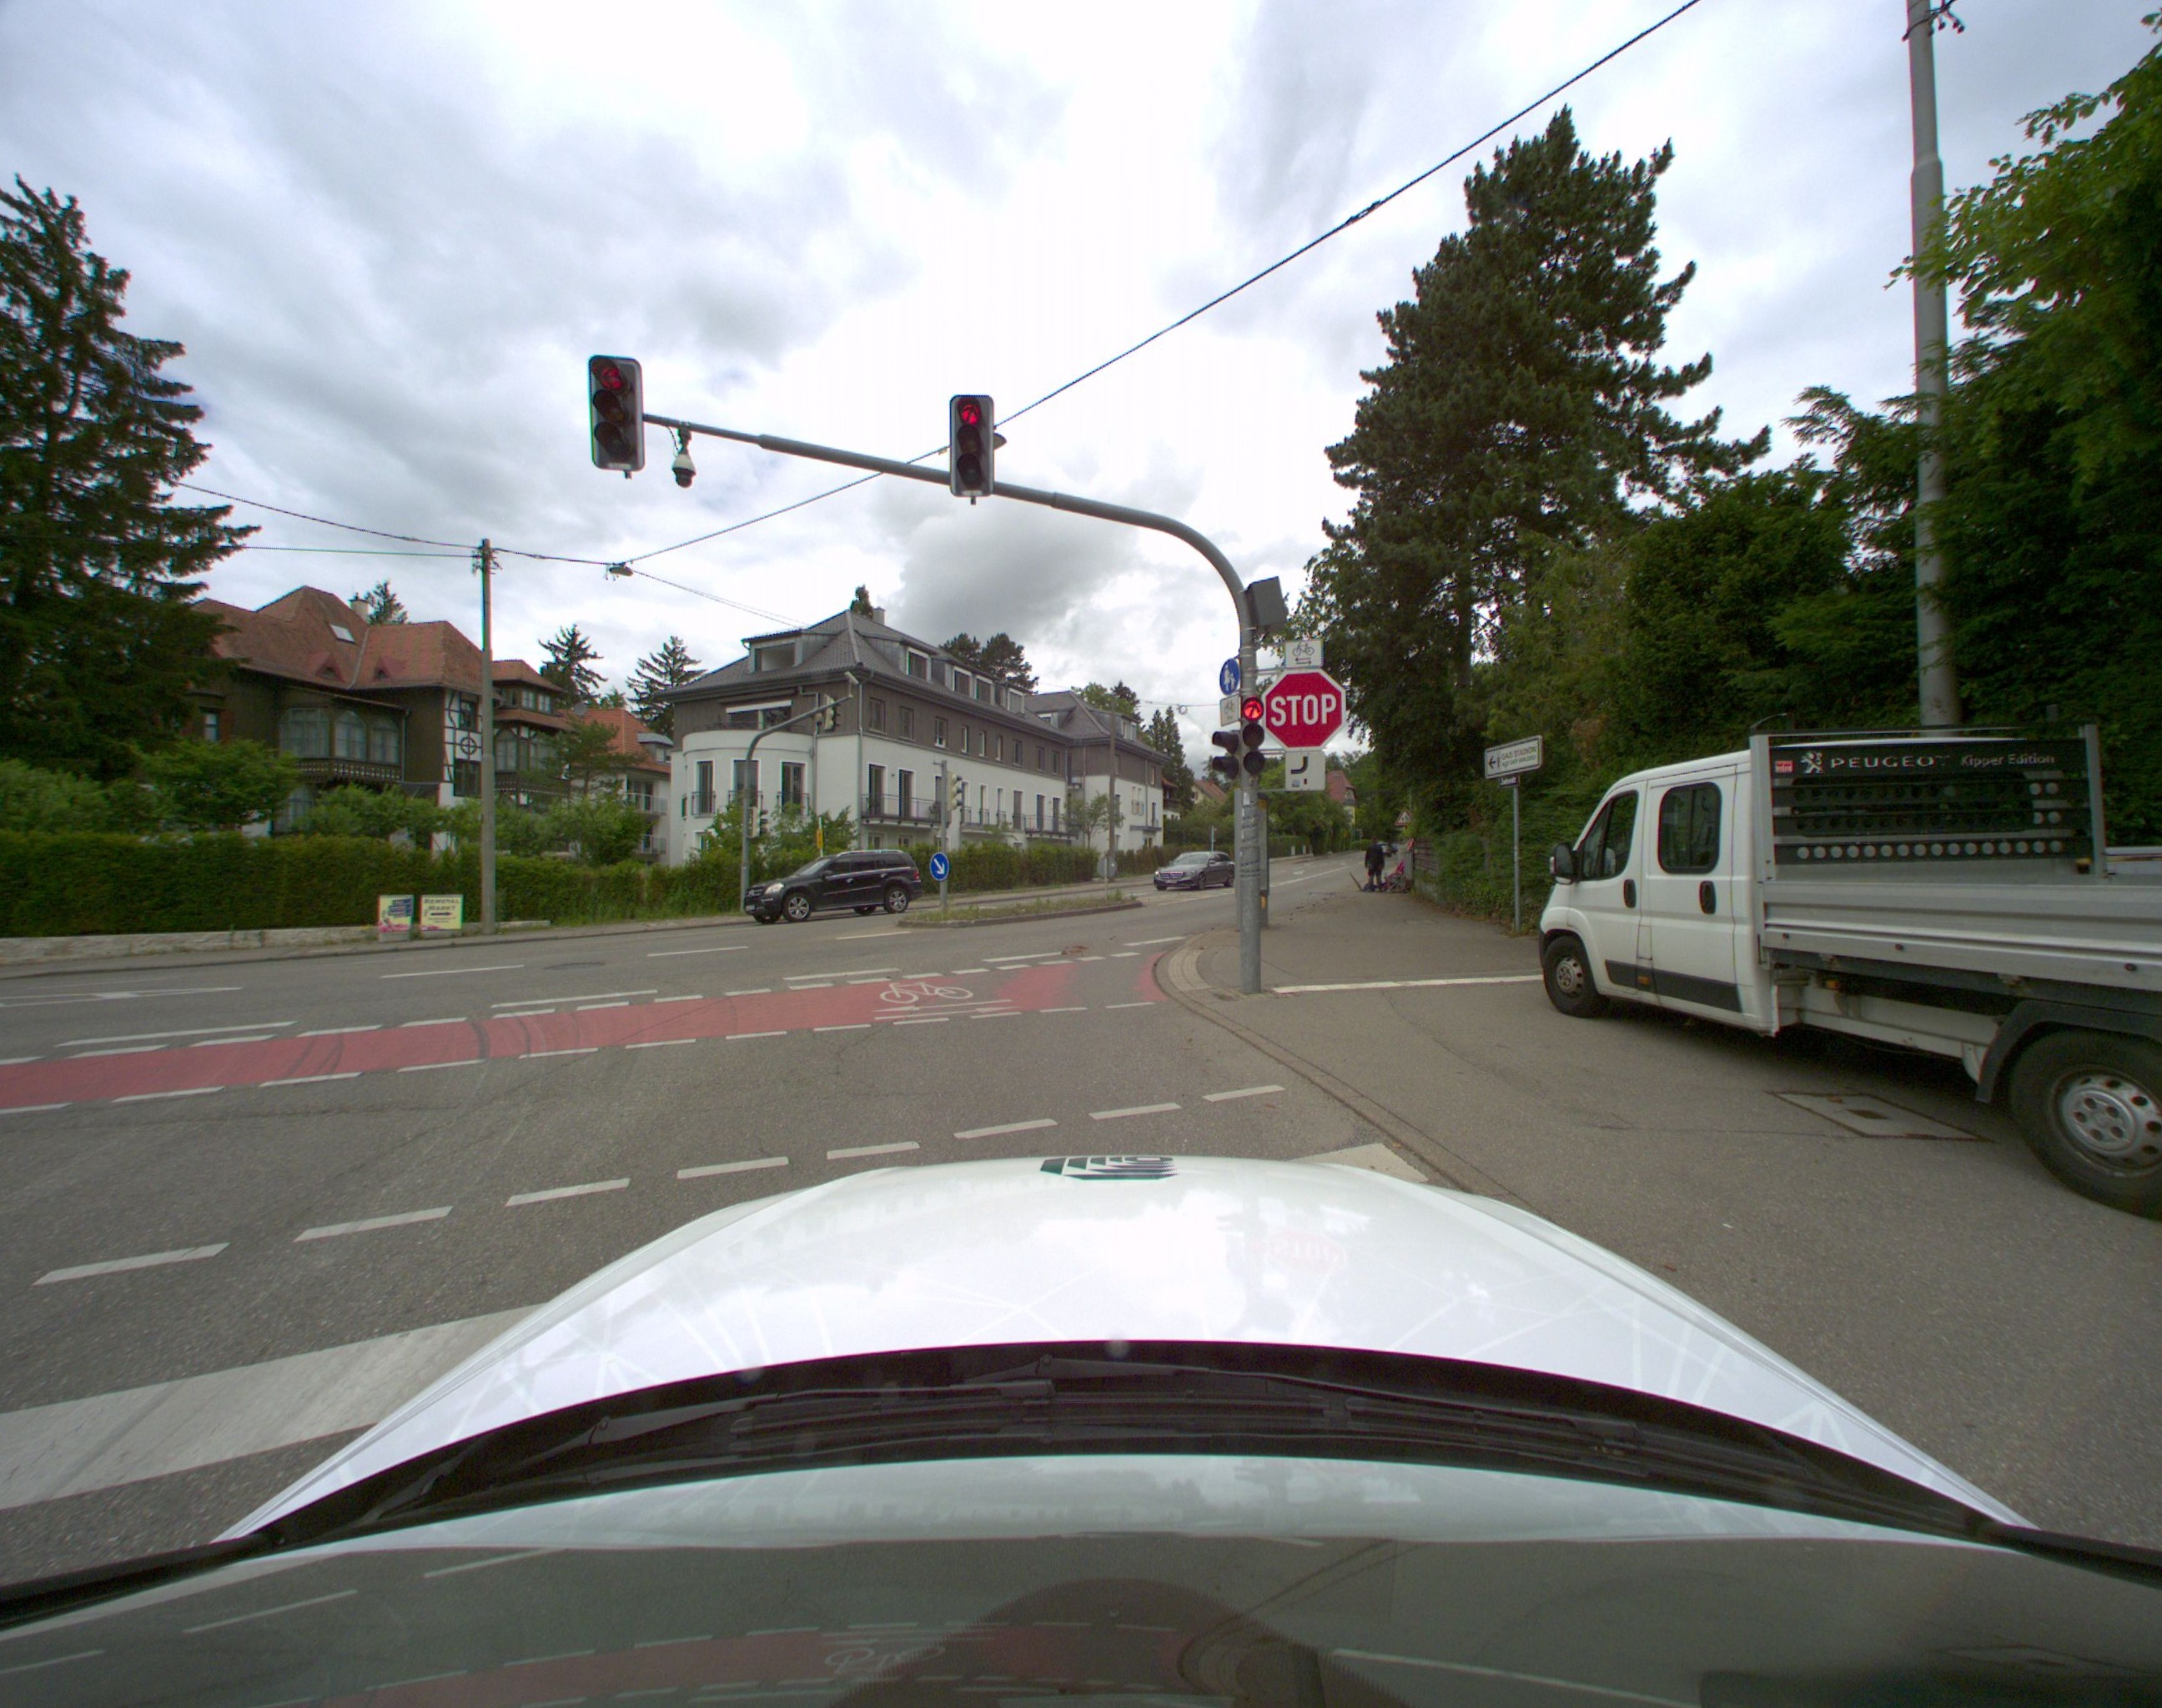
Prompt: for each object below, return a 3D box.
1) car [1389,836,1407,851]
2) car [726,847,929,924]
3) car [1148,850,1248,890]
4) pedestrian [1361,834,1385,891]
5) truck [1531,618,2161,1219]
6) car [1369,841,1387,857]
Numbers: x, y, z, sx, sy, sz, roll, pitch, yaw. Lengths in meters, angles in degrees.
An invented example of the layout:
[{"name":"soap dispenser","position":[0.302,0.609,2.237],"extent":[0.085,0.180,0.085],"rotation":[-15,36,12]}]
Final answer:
[{"name":"car","position":[42.032,-1.381,107.906],"extent":[1.975,2.014,4.023],"rotation":[-1,0,26]},{"name":"car","position":[-6.958,0.797,22.871],"extent":[1.894,1.881,5.174],"rotation":[-3,-1,41]},{"name":"car","position":[4.738,0.592,32.426],"extent":[1.920,1.403,4.773],"rotation":[-1,0,36]},{"name":"pedestrian","position":[9.807,0.280,27.345],"extent":[0.594,1.907,0.559],"rotation":[0,-1,2]},{"name":"truck","position":[5.263,0.239,4.957],"extent":[2.198,2.243,5.729],"rotation":[0,0,4]},{"name":"car","position":[34.816,-0.636,95.404],"extent":[1.791,1.753,4.511],"rotation":[-2,0,22]}]
